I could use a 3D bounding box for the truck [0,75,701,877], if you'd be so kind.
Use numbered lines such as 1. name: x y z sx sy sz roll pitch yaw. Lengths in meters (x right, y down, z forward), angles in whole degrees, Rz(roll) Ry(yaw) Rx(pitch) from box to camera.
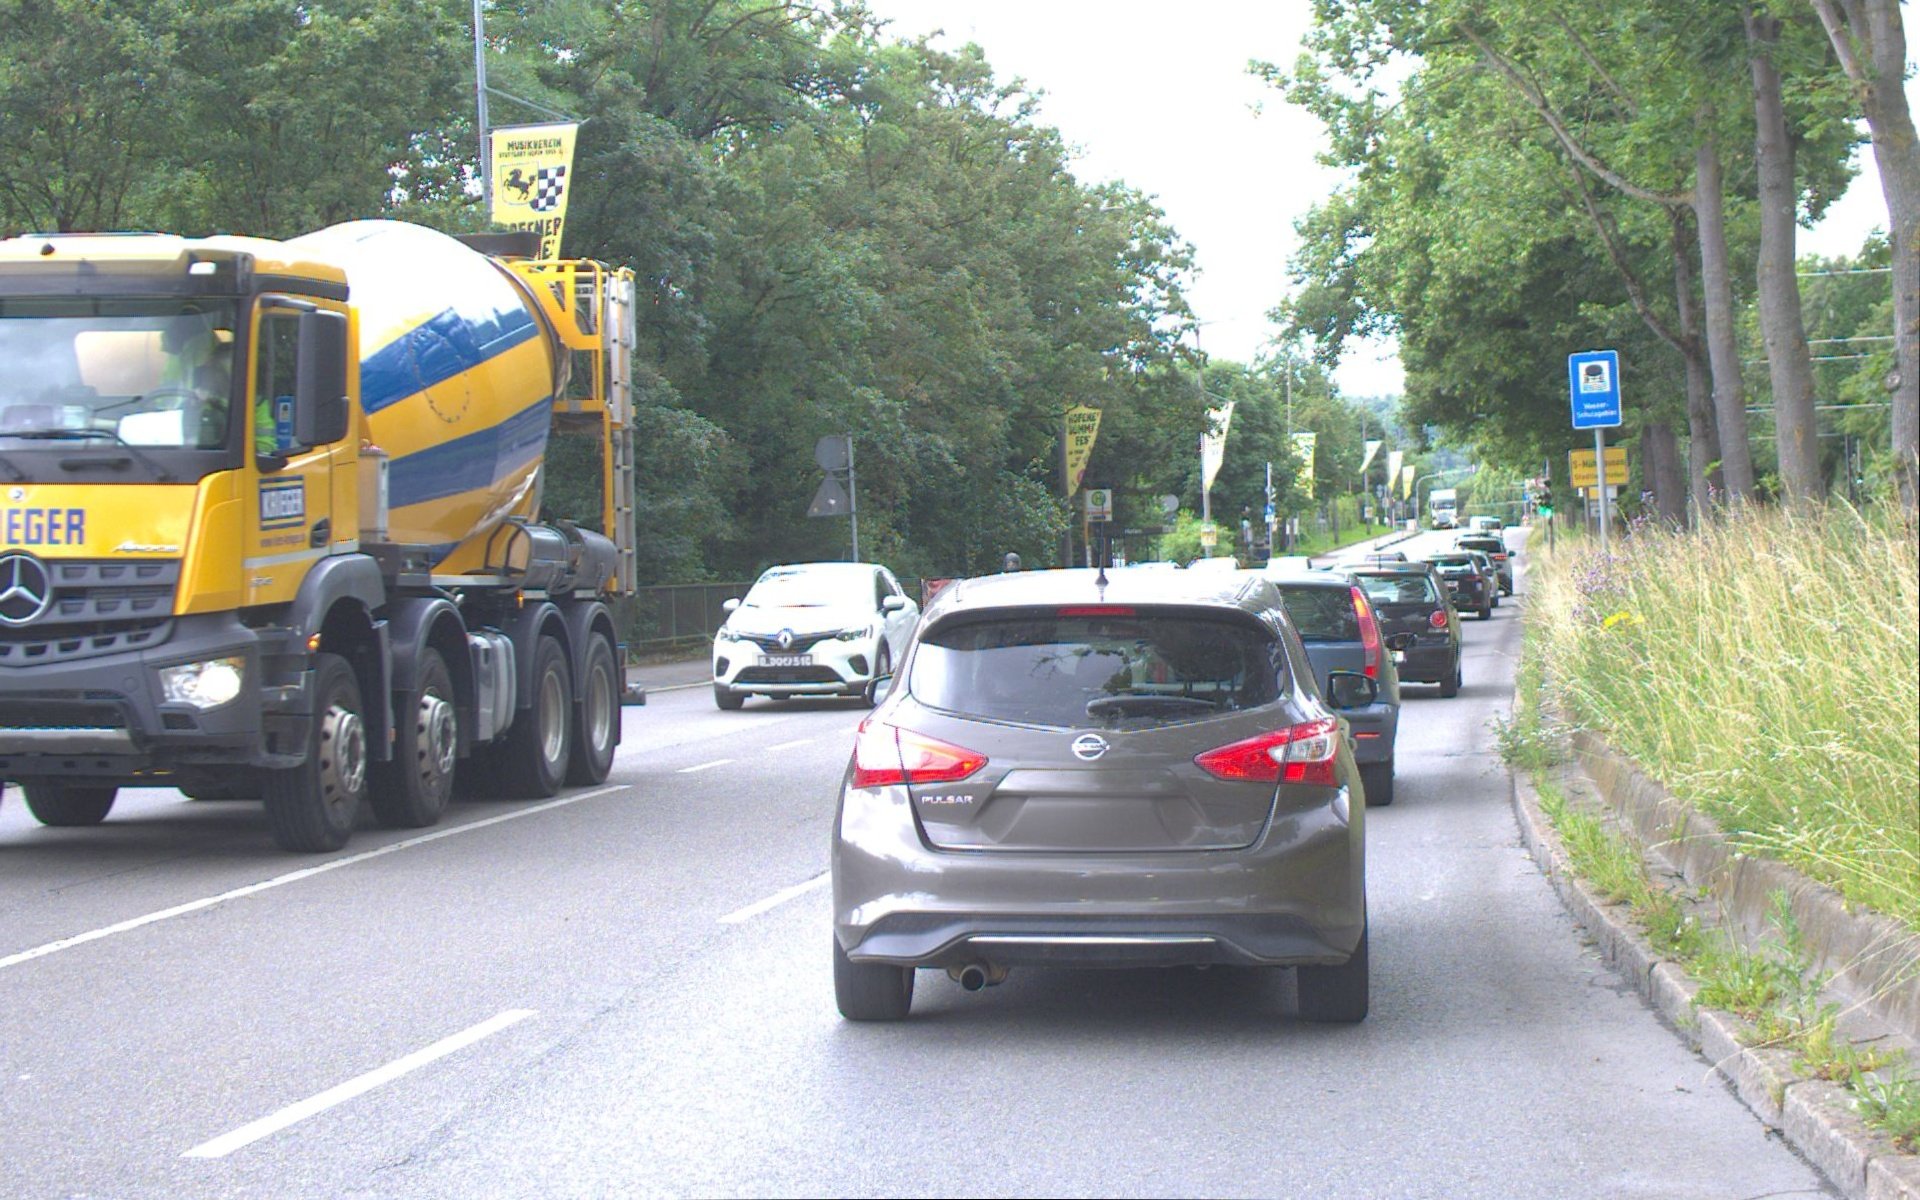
1. truck: -4.045 -0.648 22.020 2.655 3.925 10.108 0 1 8

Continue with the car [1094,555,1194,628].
1. car: 4.042 -0.155 75.167 1.722 1.437 3.998 -2 -2 9

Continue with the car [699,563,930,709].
1. car: -1.525 0.351 37.445 1.767 1.474 3.999 -1 1 9

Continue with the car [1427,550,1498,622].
1. car: 12.914 -0.339 88.297 1.719 1.687 3.998 -2 -2 9

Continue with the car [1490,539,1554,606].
1. car: 17.396 -0.860 106.339 1.891 2.007 3.998 -1 0 10

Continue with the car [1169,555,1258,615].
1. car: 6.556 -0.410 88.609 1.818 1.457 3.998 -2 1 10

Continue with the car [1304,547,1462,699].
1. car: 4.620 0.245 37.929 1.578 1.533 3.999 -2 0 6

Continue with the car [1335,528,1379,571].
1. car: 17.420 -2.191 150.610 1.719 1.687 3.724 -2 -2 9

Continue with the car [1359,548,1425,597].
1. car: 14.115 -0.879 112.216 1.852 1.481 4.419 -1 -1 10

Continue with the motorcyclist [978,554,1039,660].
1. motorcyclist: 0.711 0.101 50.470 0.745 1.533 0.790 -1 1 11

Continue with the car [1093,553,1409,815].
1. car: 1.852 0.531 22.917 1.893 1.569 3.999 -1 -1 2

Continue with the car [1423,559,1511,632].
1. car: 10.895 -0.088 73.751 1.805 1.535 3.998 0 0 9

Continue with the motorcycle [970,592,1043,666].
1. motorcycle: 0.693 0.418 50.446 0.745 1.030 1.887 -1 1 11

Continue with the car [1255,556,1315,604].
1. car: 10.902 -0.652 115.064 1.753 1.415 3.998 -2 -2 8

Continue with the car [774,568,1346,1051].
1. car: 0.439 0.665 12.671 1.775 1.489 3.999 0 -1 4
